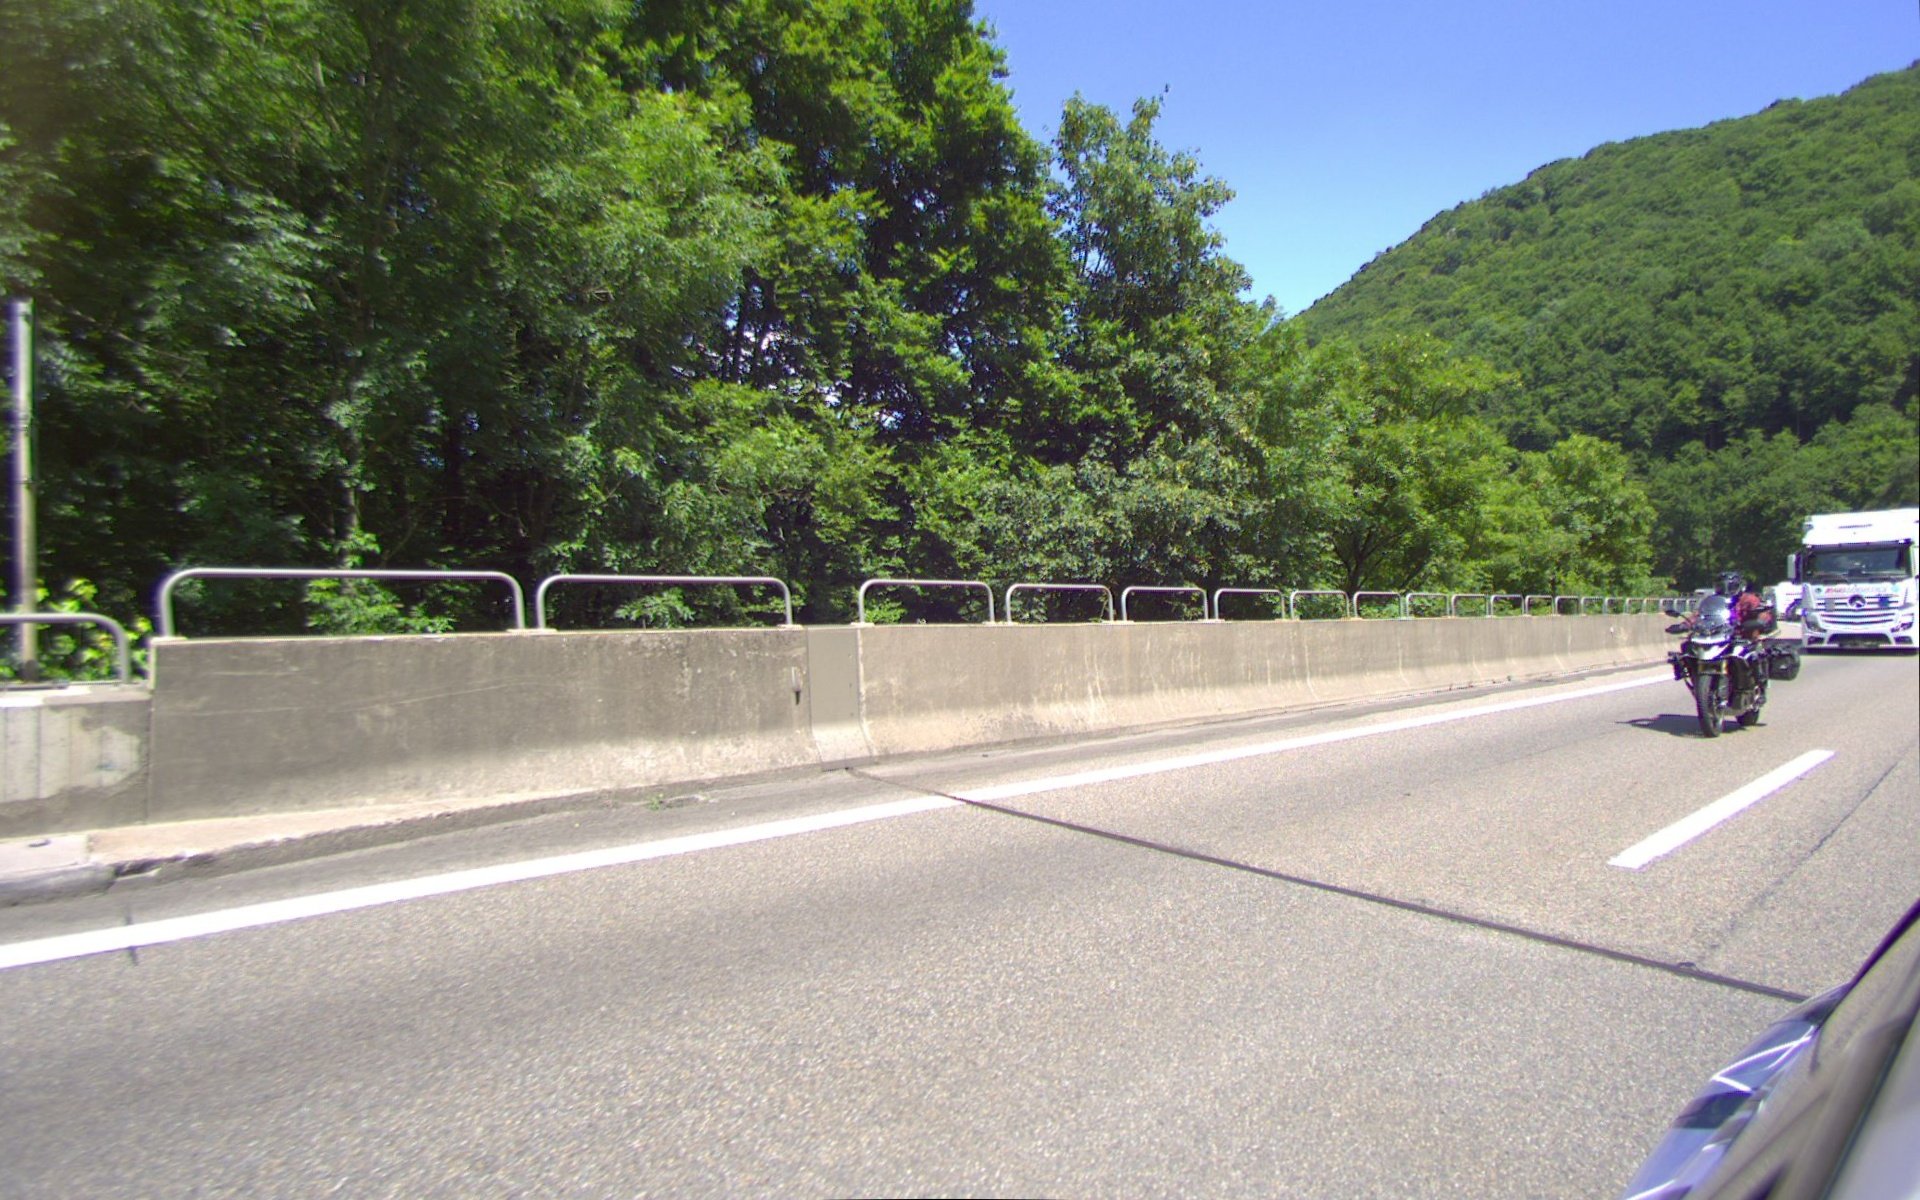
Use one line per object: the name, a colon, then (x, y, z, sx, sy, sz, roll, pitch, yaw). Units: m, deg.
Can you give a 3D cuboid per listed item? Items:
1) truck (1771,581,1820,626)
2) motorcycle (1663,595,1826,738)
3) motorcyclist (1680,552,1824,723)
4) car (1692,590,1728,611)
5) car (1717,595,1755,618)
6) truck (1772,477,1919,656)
truck: (61.818, 0.301, 74.950, 2.606, 3.142, 6.756, -2, -2, 39)
motorcycle: (8.940, 0.669, 11.479, 2.634, 1.437, 0.974, 0, 0, -41)
motorcyclist: (9.108, 0.398, 11.637, 1.314, 1.823, 1.062, 0, 0, -41)
car: (76.803, 0.044, 103.715, 1.976, 2.039, 3.972, 0, 0, 21)
car: (73.436, 0.597, 95.863, 1.978, 2.039, 3.967, 0, 0, 24)
truck: (27.314, -0.739, 30.359, 2.961, 4.186, 16.438, -2, -2, 44)
